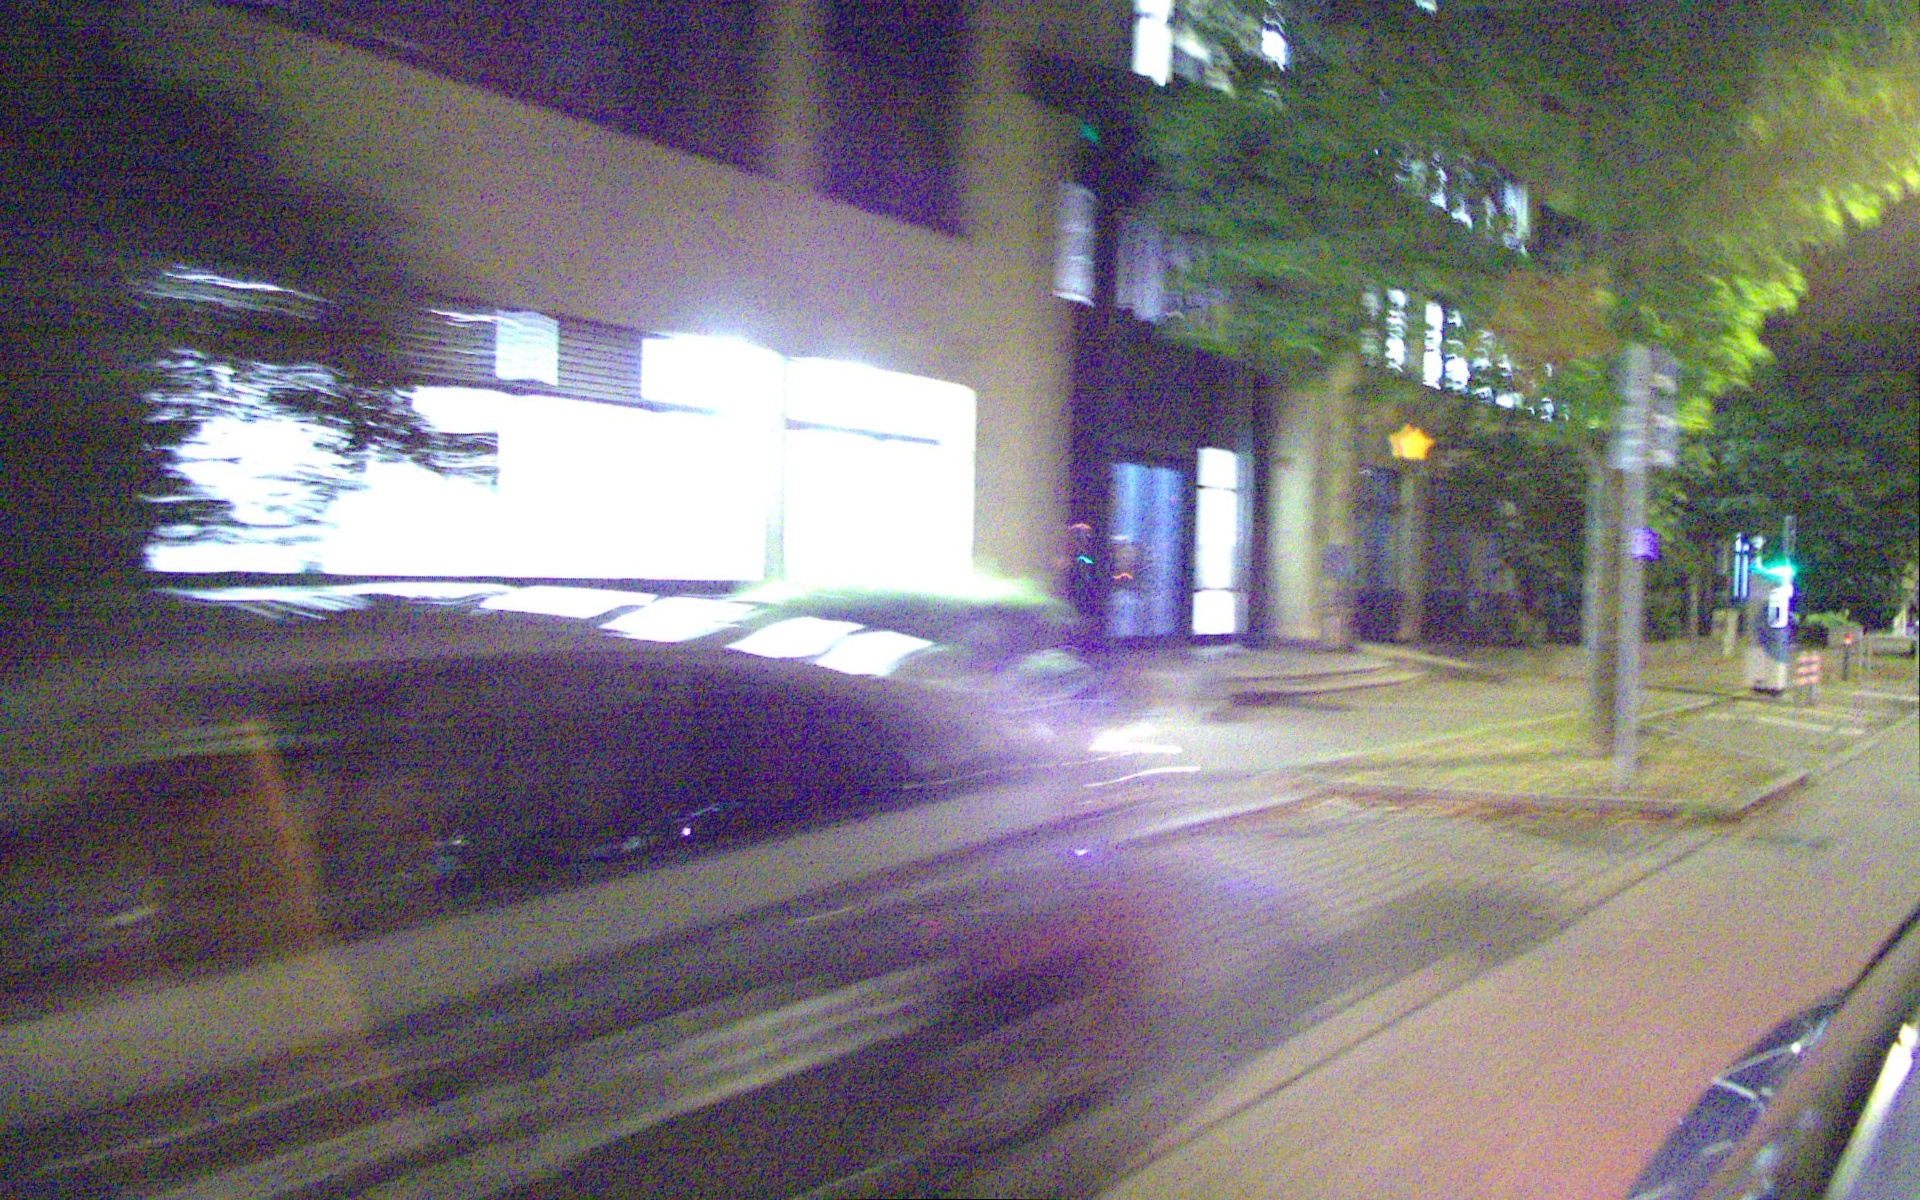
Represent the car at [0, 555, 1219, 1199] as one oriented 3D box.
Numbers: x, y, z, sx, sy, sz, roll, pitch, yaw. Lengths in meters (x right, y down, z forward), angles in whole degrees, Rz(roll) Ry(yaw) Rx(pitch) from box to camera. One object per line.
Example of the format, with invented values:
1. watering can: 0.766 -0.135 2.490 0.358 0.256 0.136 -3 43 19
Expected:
1. car: -1.477 0.678 1.976 4.072 1.446 1.673 0 4 -39
